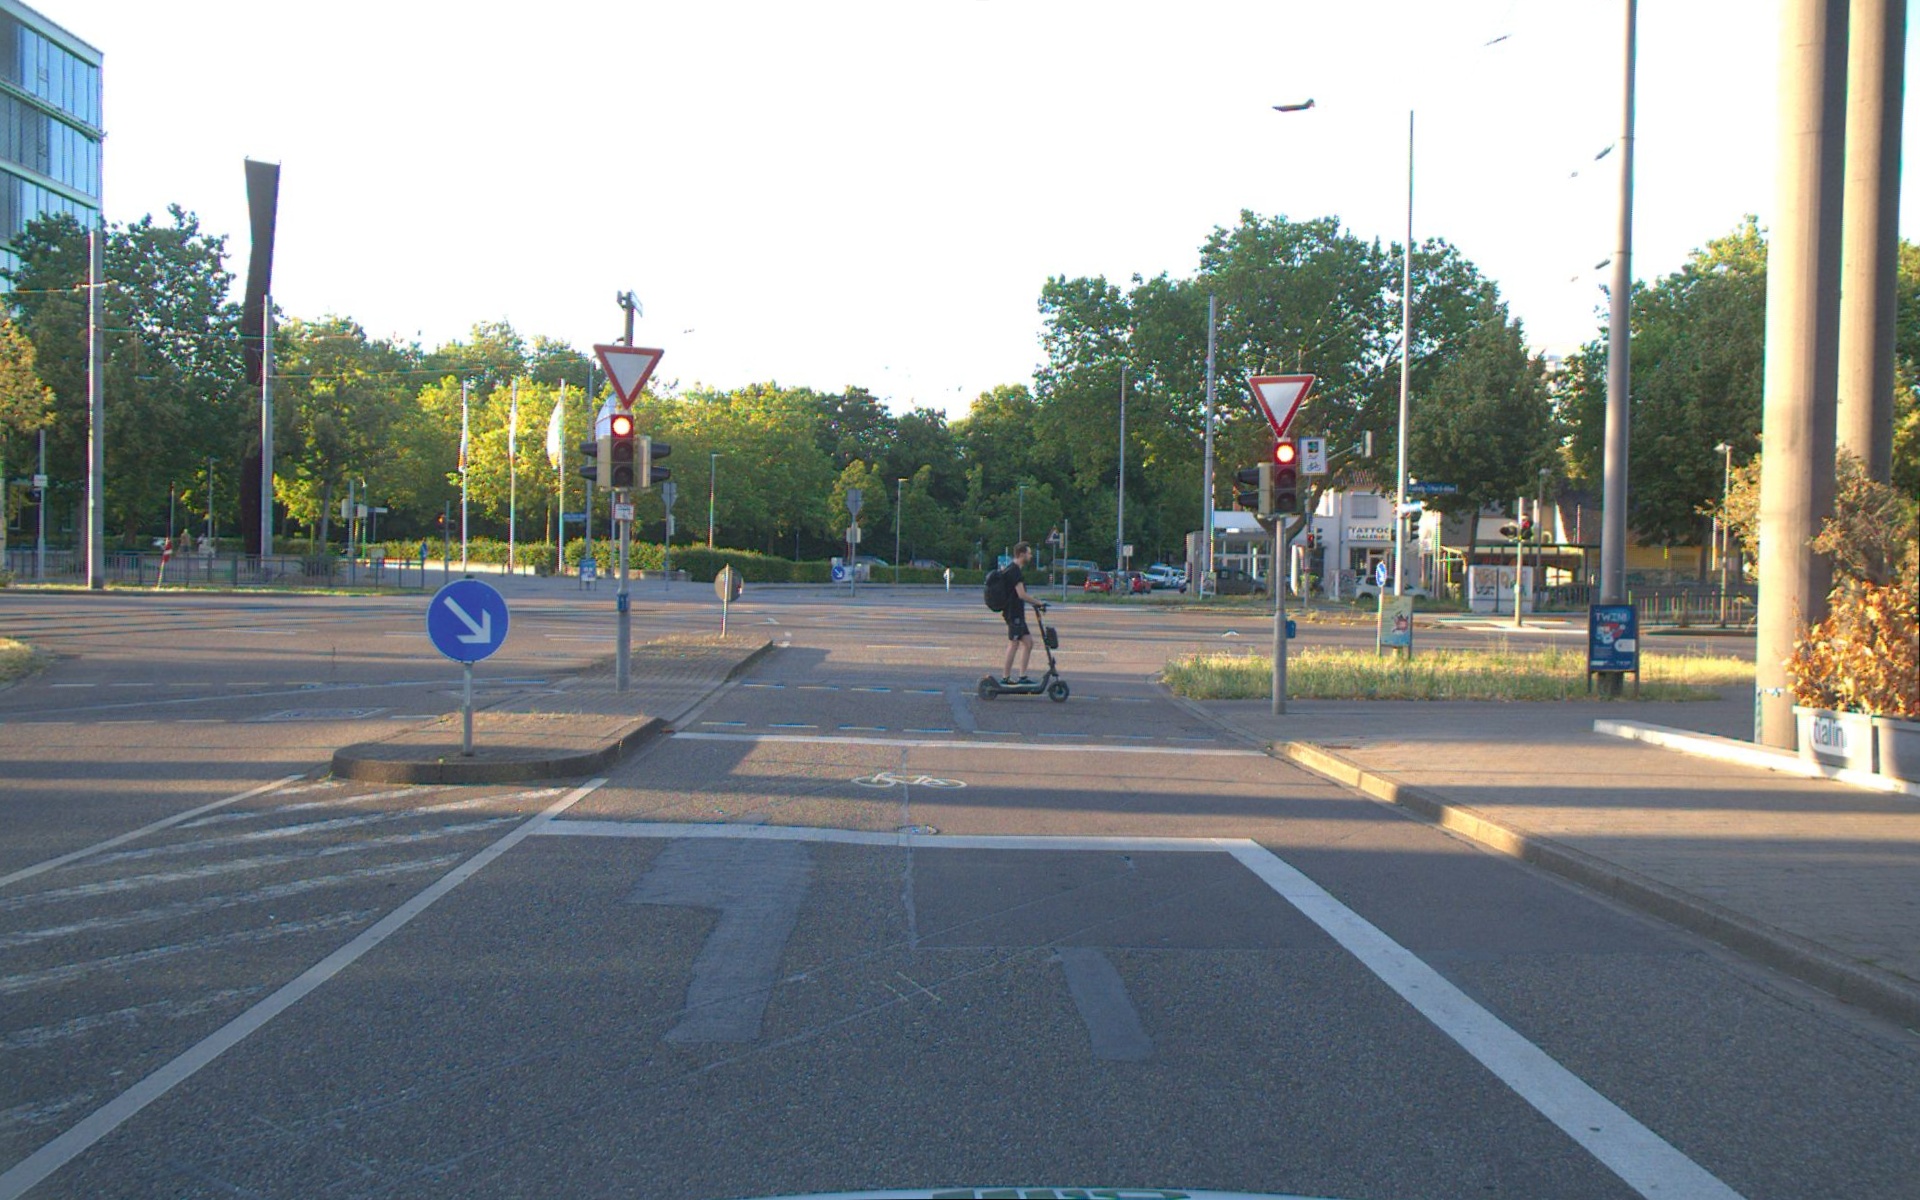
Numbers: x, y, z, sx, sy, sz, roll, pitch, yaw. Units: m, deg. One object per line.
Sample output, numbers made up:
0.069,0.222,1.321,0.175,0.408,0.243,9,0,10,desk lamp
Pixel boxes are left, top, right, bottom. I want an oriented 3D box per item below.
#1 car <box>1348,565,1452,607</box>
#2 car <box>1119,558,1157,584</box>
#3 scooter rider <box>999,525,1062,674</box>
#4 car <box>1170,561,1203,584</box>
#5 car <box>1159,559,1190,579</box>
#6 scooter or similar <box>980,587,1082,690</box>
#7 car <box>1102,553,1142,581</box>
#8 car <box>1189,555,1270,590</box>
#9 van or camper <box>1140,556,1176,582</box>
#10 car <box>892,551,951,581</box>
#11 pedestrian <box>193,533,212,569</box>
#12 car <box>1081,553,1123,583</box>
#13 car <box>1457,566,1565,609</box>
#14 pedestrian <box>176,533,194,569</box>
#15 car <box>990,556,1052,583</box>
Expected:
20.690,-0.686,77.935,4.375,1.848,1.946,1,2,0,car
11.690,-1.903,108.412,1.467,1.634,3.401,2,3,25,car
0.863,-0.012,20.377,0.692,1.813,0.442,1,2,-5,scooter rider
16.470,-2.009,120.112,1.467,1.503,3.083,2,3,25,car
18.128,-2.618,139.874,1.469,1.634,3.398,2,3,28,car
0.864,0.469,20.390,1.190,1.221,0.503,1,2,-5,scooter or similar
10.251,-2.105,104.619,1.467,1.634,3.401,2,3,25,car
15.370,-1.597,94.385,4.373,1.848,1.947,1,2,4,car
16.308,-2.577,136.125,1.594,2.016,3.801,2,3,28,van or camper
-2.673,-2.338,114.146,3.980,1.937,1.787,1,2,-2,car
-44.381,-2.870,96.888,0.681,2.048,0.699,2,2,18,pedestrian
8.683,-1.970,100.990,1.467,1.791,3.401,2,3,25,car
25.809,-0.587,77.529,4.375,1.848,1.946,1,2,0,car
-44.782,-2.842,95.564,0.681,2.048,0.699,2,2,18,pedestrian
4.733,-2.363,127.802,4.585,1.901,2.015,1,2,5,car
